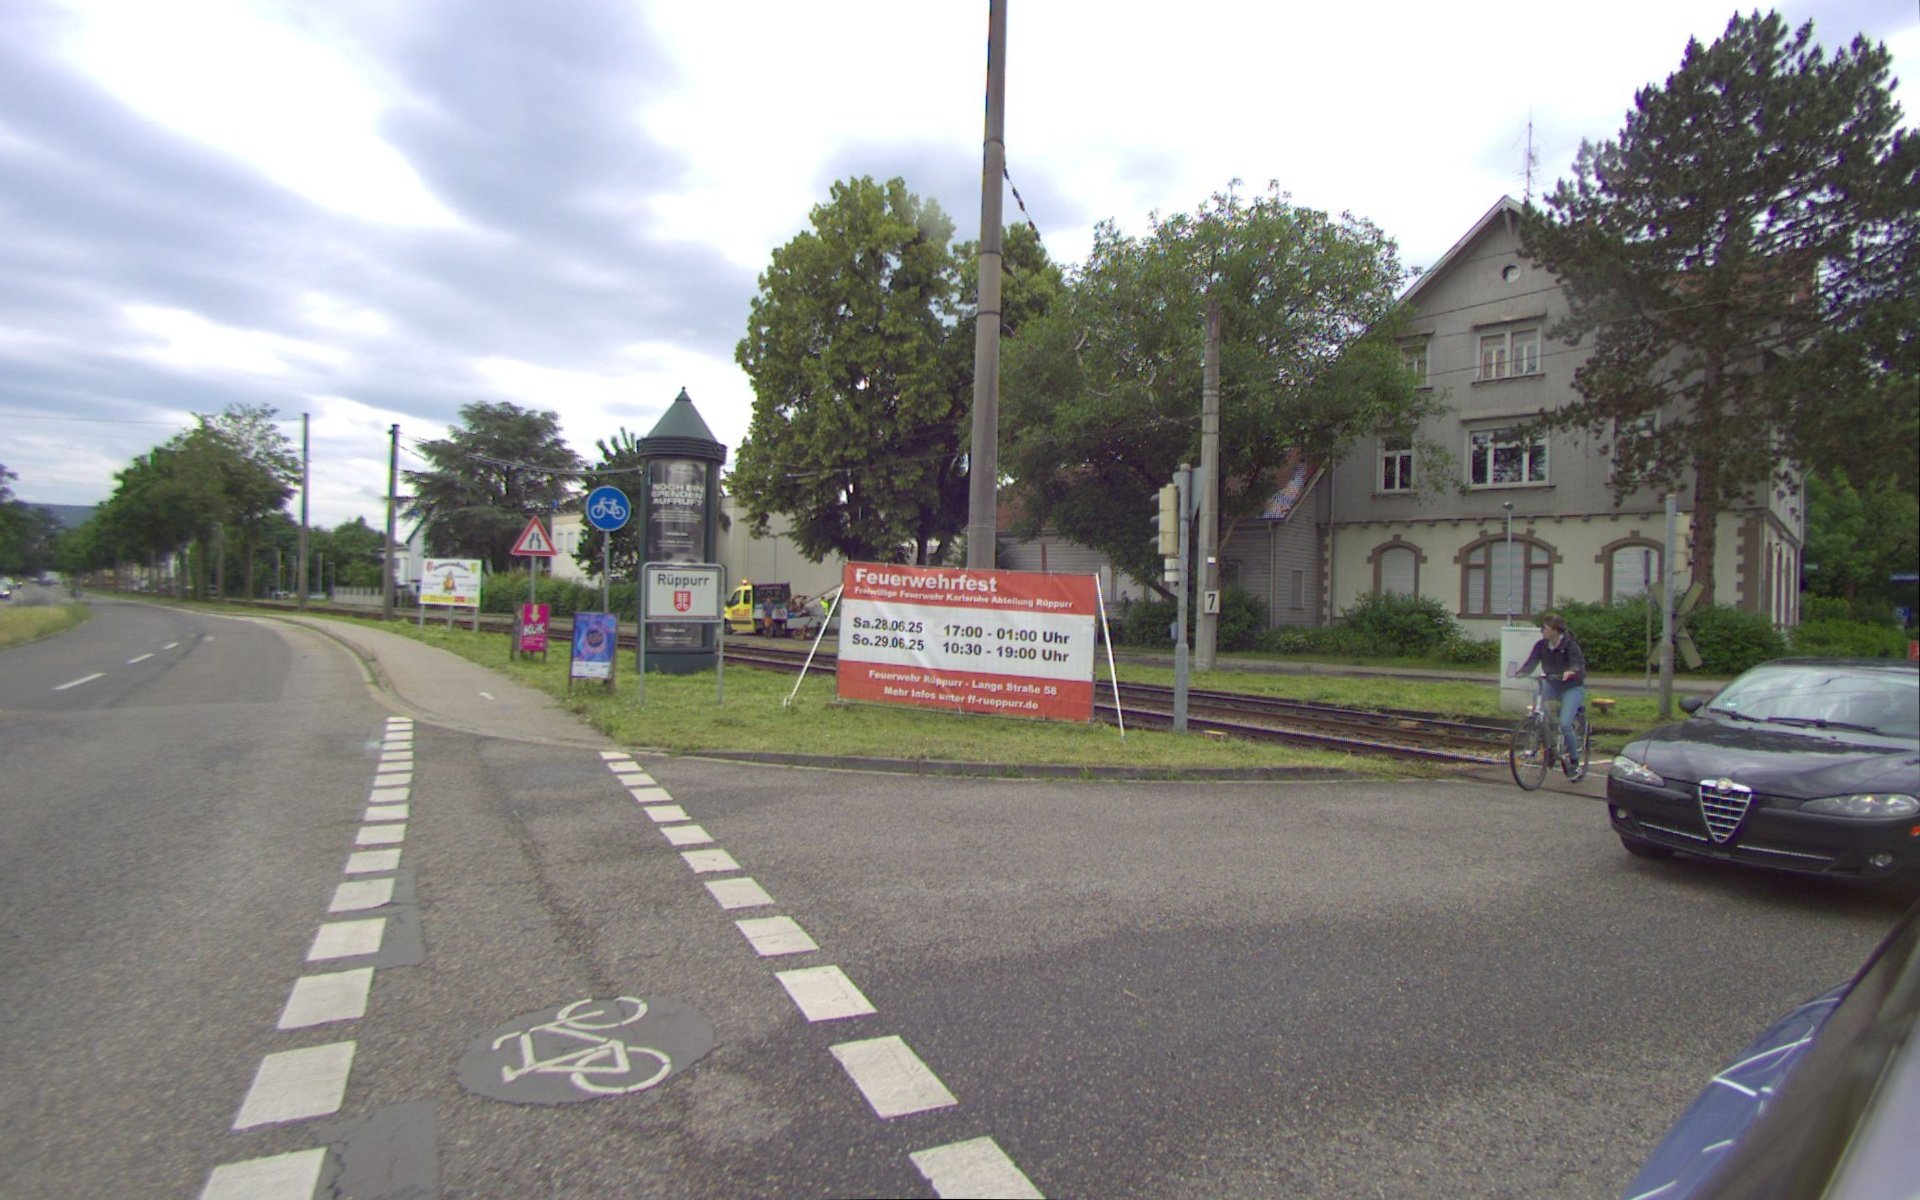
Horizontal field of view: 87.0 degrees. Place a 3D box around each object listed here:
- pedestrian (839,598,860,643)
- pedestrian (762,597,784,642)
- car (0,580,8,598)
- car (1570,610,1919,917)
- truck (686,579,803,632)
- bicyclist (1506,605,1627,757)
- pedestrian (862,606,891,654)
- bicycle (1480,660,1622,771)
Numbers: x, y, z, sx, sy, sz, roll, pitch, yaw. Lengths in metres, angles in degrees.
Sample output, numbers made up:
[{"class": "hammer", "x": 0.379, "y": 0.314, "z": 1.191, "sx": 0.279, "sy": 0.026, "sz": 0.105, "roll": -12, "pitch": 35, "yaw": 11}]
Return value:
[{"class": "pedestrian", "x": -4.446, "y": 0.817, "z": 40.670, "sx": 0.572, "sy": 1.784, "sz": 0.628, "roll": 0, "pitch": 0, "yaw": 37}, {"class": "pedestrian", "x": -7.981, "y": 0.822, "z": 43.165, "sx": 0.702, "sy": 1.863, "sz": 0.607, "roll": 1, "pitch": -1, "yaw": 13}, {"class": "car", "x": -85.169, "y": -1.006, "z": 89.123, "sx": 1.631, "sy": 1.549, "sz": 3.887, "roll": 1, "pitch": 0, "yaw": -38}, {"class": "car", "x": 6.191, "y": 0.836, "z": 6.768, "sx": 4.451, "sy": 1.475, "sz": 1.805, "roll": 1, "pitch": 0, "yaw": -32}, {"class": "truck", "x": -10.264, "y": 0.225, "z": 47.731, "sx": 2.560, "sy": 2.322, "sz": 6.399, "roll": 1, "pitch": 0, "yaw": -42}, {"class": "bicyclist", "x": 6.093, "y": 0.788, "z": 10.174, "sx": 0.943, "sy": 1.443, "sz": 0.623, "roll": 1, "pitch": -4, "yaw": -33}, {"class": "pedestrian", "x": -3.300, "y": 1.174, "z": 39.956, "sx": 0.856, "sy": 1.878, "sz": 0.681, "roll": 2, "pitch": -1, "yaw": -30}, {"class": "bicycle", "x": 6.004, "y": 1.128, "z": 10.236, "sx": 1.990, "sy": 0.993, "sz": 0.384, "roll": 1, "pitch": -1, "yaw": -33}]
